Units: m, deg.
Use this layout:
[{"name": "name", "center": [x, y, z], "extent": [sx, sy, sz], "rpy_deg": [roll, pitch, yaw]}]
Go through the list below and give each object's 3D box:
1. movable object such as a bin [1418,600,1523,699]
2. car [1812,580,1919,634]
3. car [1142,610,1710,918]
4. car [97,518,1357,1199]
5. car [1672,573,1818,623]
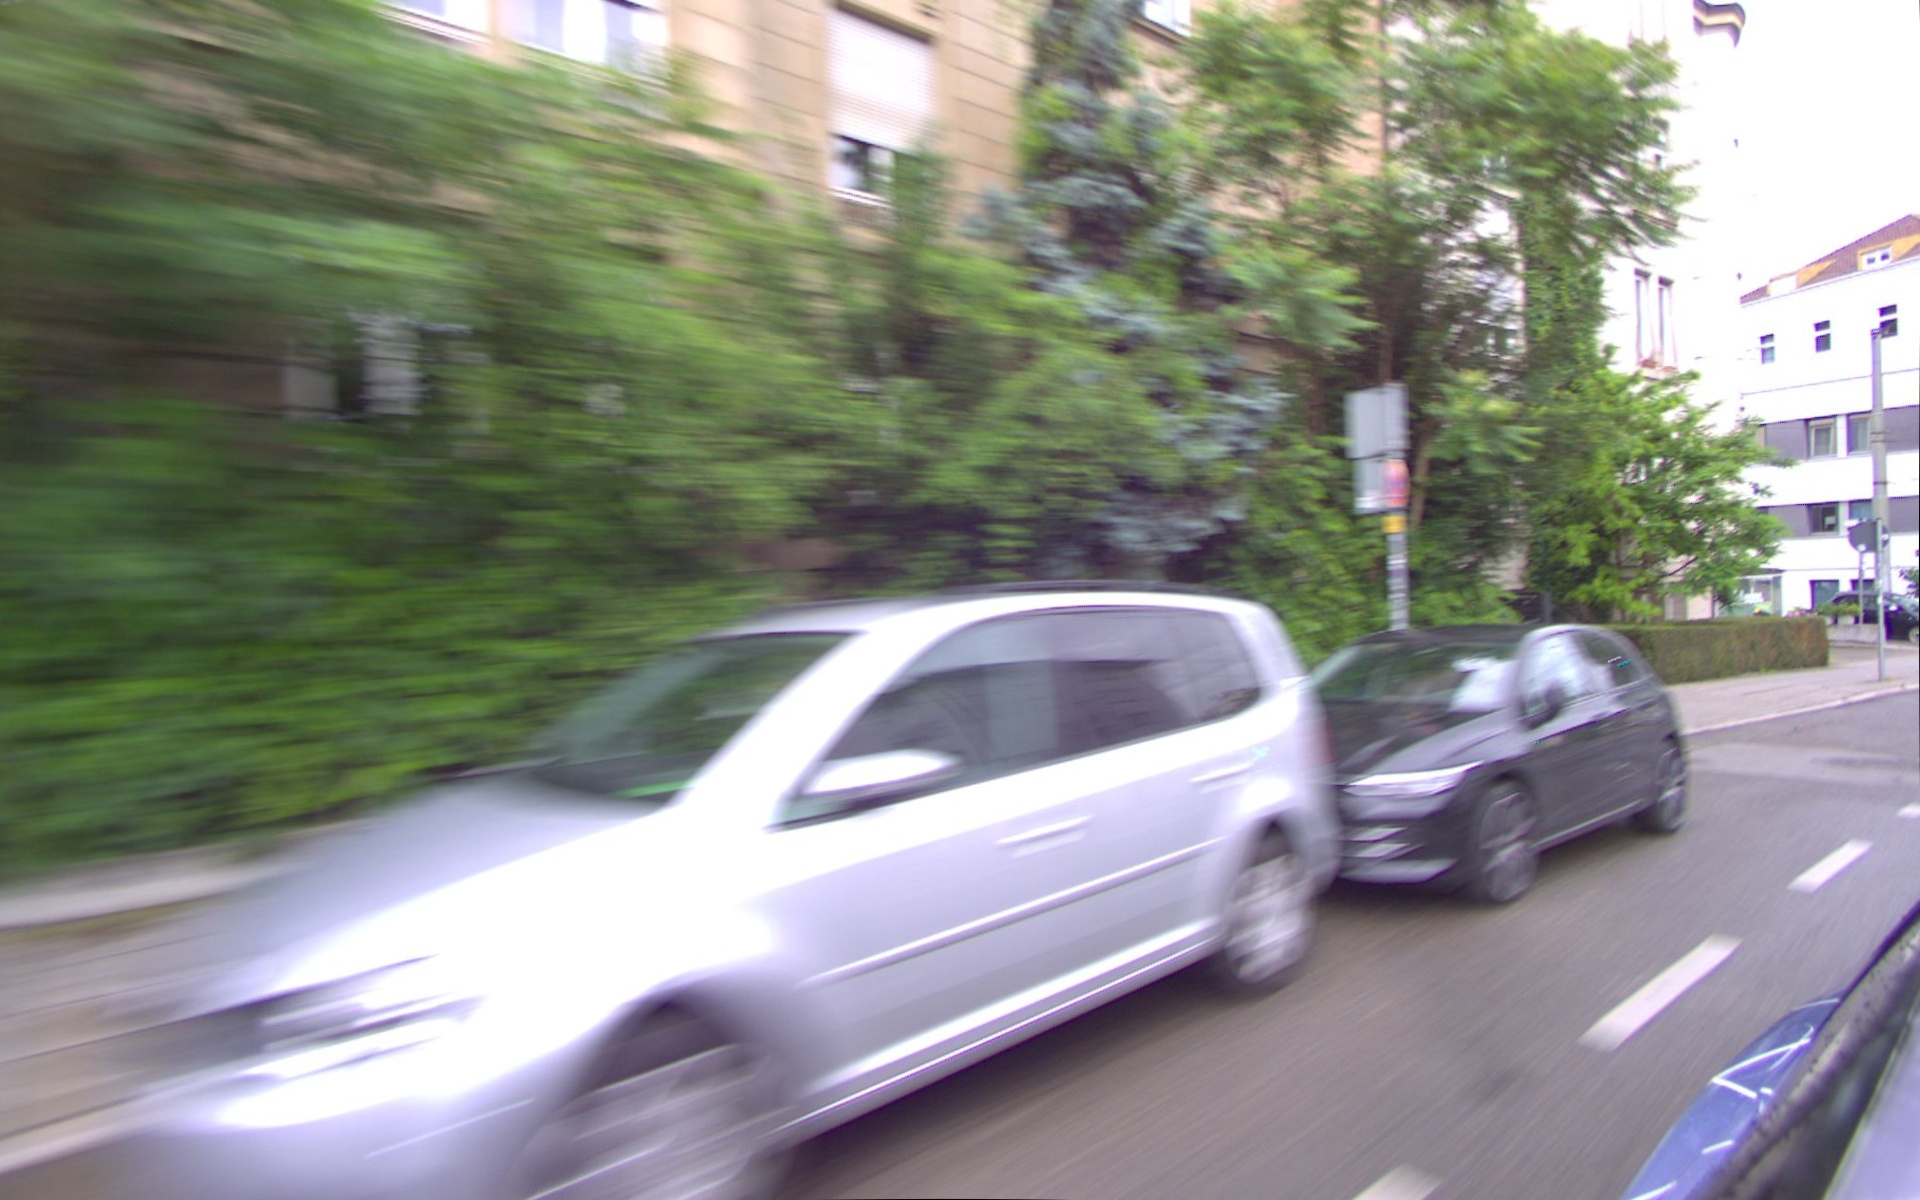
[{"name": "movable object such as a bin", "center": [7.886, 0.736, 15.652], "extent": [0.809, 1.421, 1.226], "rpy_deg": [3, 0, -45]}, {"name": "car", "center": [29.603, 0.212, 31.979], "extent": [1.702, 1.526, 3.677], "rpy_deg": [-1, 4, -28]}, {"name": "car", "center": [3.165, 0.821, 6.569], "extent": [3.927, 1.409, 1.769], "rpy_deg": [2, -3, -38]}, {"name": "car", "center": [-0.374, 0.664, 3.723], "extent": [4.215, 1.624, 1.768], "rpy_deg": [0, 0, -43]}, {"name": "car", "center": [27.650, -0.117, 35.769], "extent": [1.702, 1.526, 3.677], "rpy_deg": [-1, 4, -28]}]
